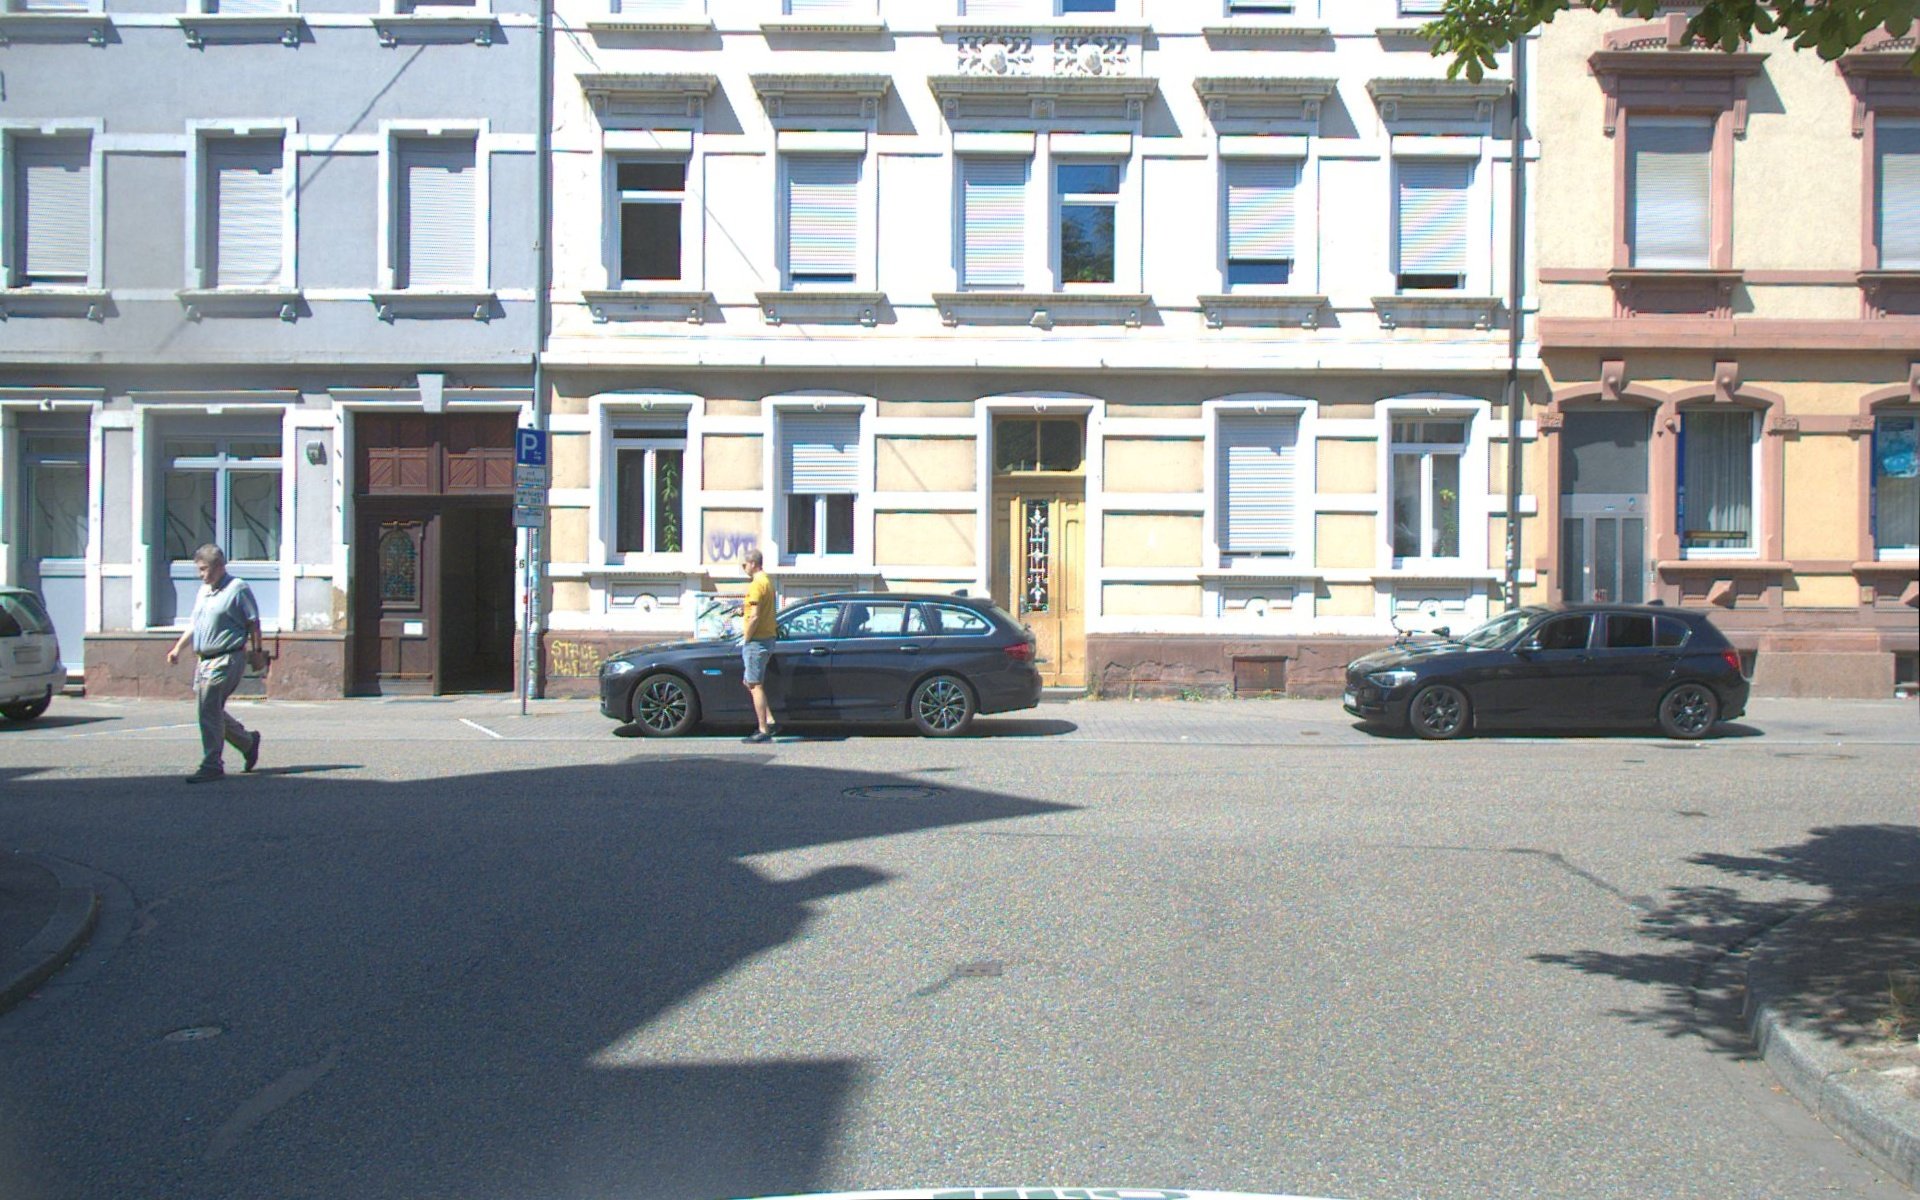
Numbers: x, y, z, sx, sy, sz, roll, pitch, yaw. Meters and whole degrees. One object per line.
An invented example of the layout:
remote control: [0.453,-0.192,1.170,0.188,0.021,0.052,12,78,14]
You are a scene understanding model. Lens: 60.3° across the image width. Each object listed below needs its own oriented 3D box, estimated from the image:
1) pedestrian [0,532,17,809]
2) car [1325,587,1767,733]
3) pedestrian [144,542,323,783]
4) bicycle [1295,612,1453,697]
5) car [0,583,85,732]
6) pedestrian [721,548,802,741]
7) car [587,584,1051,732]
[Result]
pedestrian: [-7.152,0.493,11.265,0.832,1.922,0.935,-1,0,19]
car: [6.281,0.621,18.075,4.206,1.394,1.807,-1,2,0]
pedestrian: [-5.810,0.481,13.253,0.882,1.846,0.960,-1,0,22]
bicycle: [5.415,0.708,21.650,1.964,1.039,0.424,-1,3,-2]
car: [-12.176,0.635,18.332,3.964,1.589,1.807,-1,0,-1]
pedestrian: [-1.986,0.438,16.606,0.709,1.886,0.685,-1,0,0]
car: [-1.441,0.600,18.022,4.759,1.462,2.000,-1,0,0]
